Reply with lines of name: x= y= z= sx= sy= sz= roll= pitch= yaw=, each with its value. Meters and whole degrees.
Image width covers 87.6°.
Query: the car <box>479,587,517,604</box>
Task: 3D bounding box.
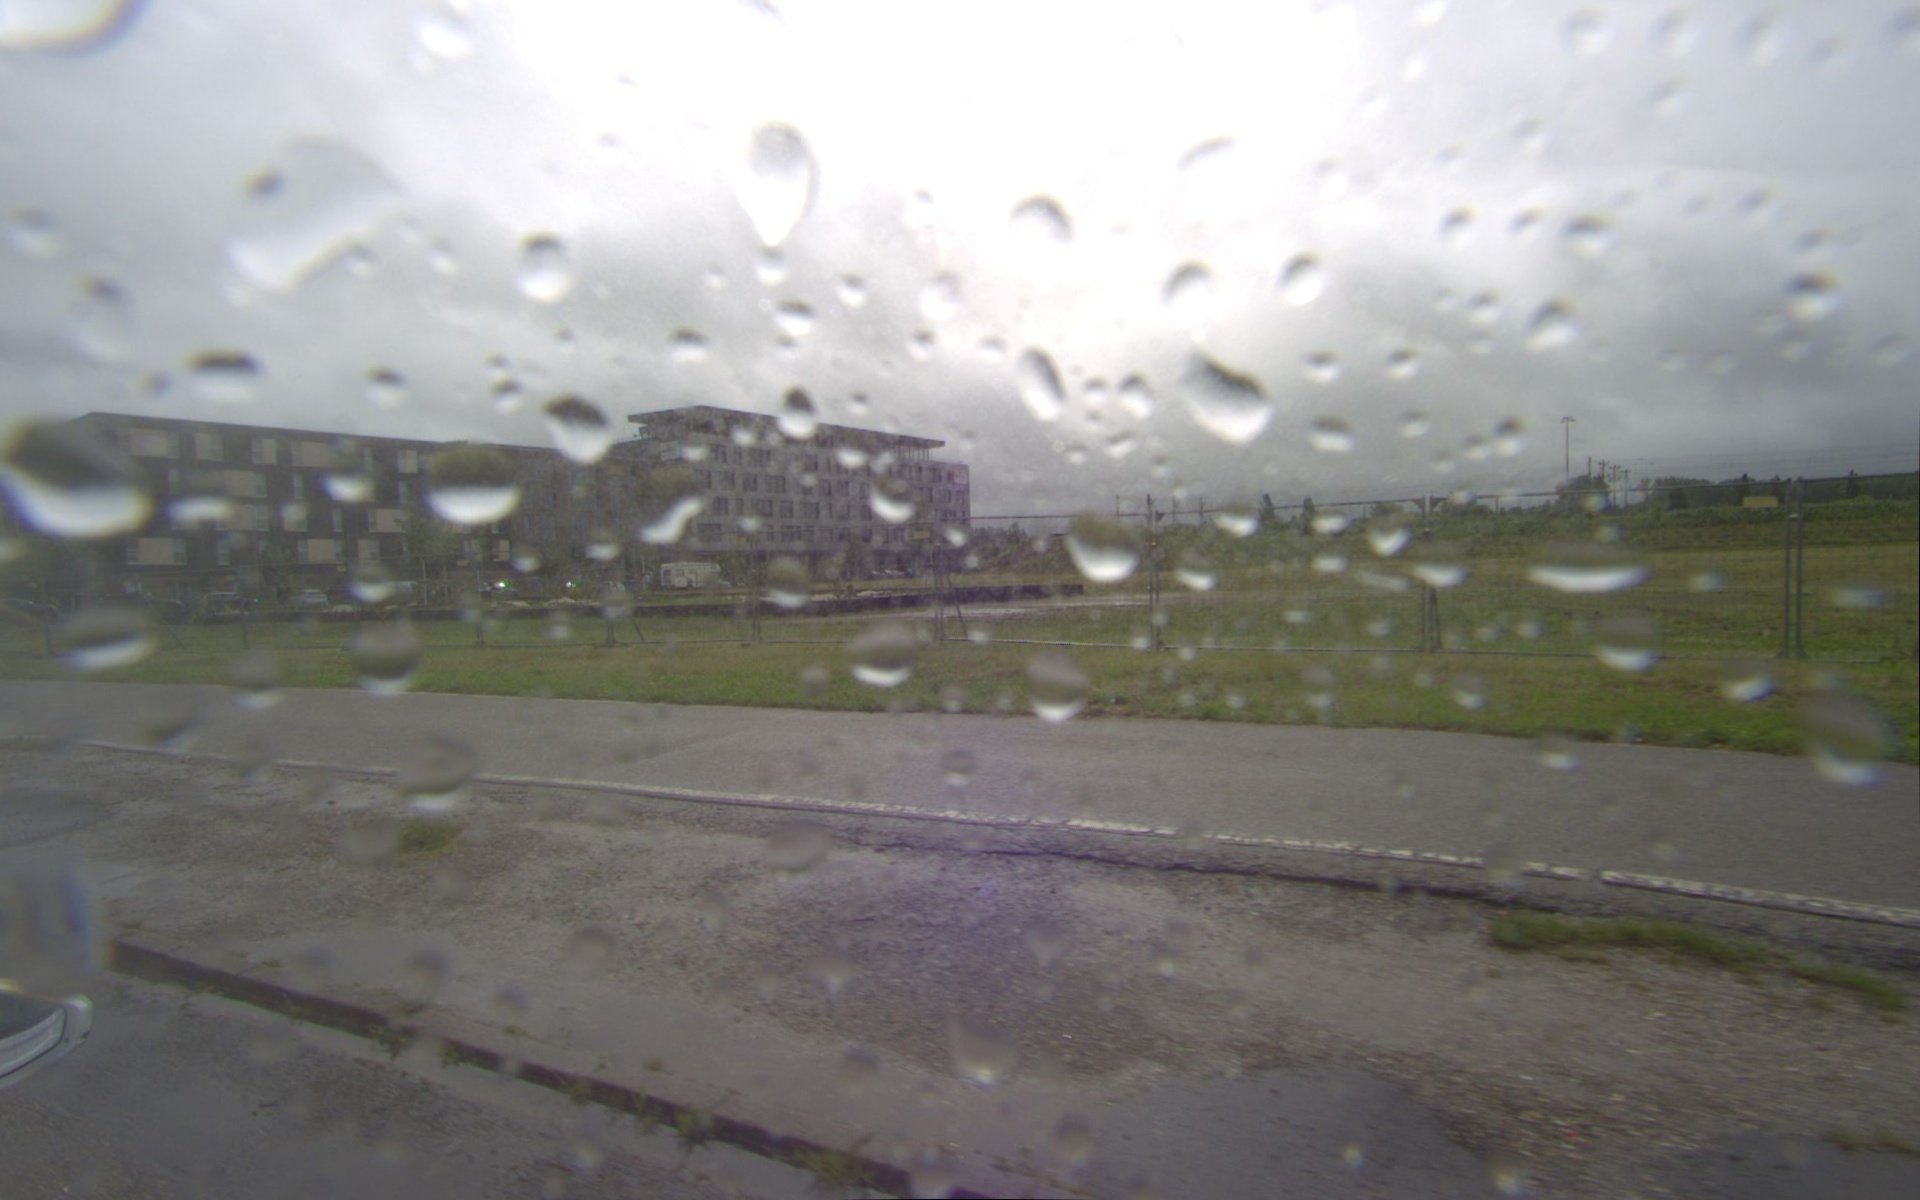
car: x=-45.980 y=-0.407 z=99.618 sx=3.790 sy=1.636 sz=1.775 roll=0 pitch=-1 yaw=34

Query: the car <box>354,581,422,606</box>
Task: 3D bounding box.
car: x=-46.617 y=-0.486 z=81.683 sx=1.974 sy=1.794 sz=4.312 roll=0 pitch=-2 yaw=36

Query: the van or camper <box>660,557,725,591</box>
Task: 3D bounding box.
van or camper: x=-28.487 y=-2.720 z=106.983 sx=2.496 sy=3.243 sz=6.759 roll=0 pitch=-1 yaw=35

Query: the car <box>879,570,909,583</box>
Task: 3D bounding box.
car: x=-9.612 y=-3.330 z=144.963 sx=4.314 sy=1.709 sz=1.787 roll=0 pitch=-1 yaw=38

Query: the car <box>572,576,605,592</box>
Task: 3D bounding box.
car: x=-40.060 y=-1.732 z=107.937 sx=3.790 sy=1.636 sz=1.540 roll=0 pitch=0 yaw=34

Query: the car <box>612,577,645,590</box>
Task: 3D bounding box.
car: x=-37.255 y=-1.847 z=112.498 sx=3.850 sy=1.313 sz=1.543 roll=0 pitch=-1 yaw=34

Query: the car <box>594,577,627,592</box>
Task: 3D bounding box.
car: x=-38.505 y=-1.695 z=110.306 sx=3.790 sy=1.636 sz=1.540 roll=0 pitch=0 yaw=34

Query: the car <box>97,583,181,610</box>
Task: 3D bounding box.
car: x=-55.591 y=-0.208 z=67.866 sx=1.971 sy=1.750 sz=3.981 roll=0 pitch=-1 yaw=31

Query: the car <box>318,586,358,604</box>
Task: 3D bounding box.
car: x=-54.565 y=-0.443 z=87.868 sx=3.731 sy=1.415 sz=1.633 roll=-2 pitch=0 yaw=35

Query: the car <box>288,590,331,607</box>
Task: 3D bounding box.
car: x=-55.794 y=-0.079 z=85.888 sx=3.756 sy=1.413 sz=1.758 roll=0 pitch=-1 yaw=34

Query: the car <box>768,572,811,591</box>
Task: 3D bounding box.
car: x=-19.686 y=-2.130 z=115.621 sx=1.975 sy=2.040 sz=4.777 roll=0 pitch=-1 yaw=38
